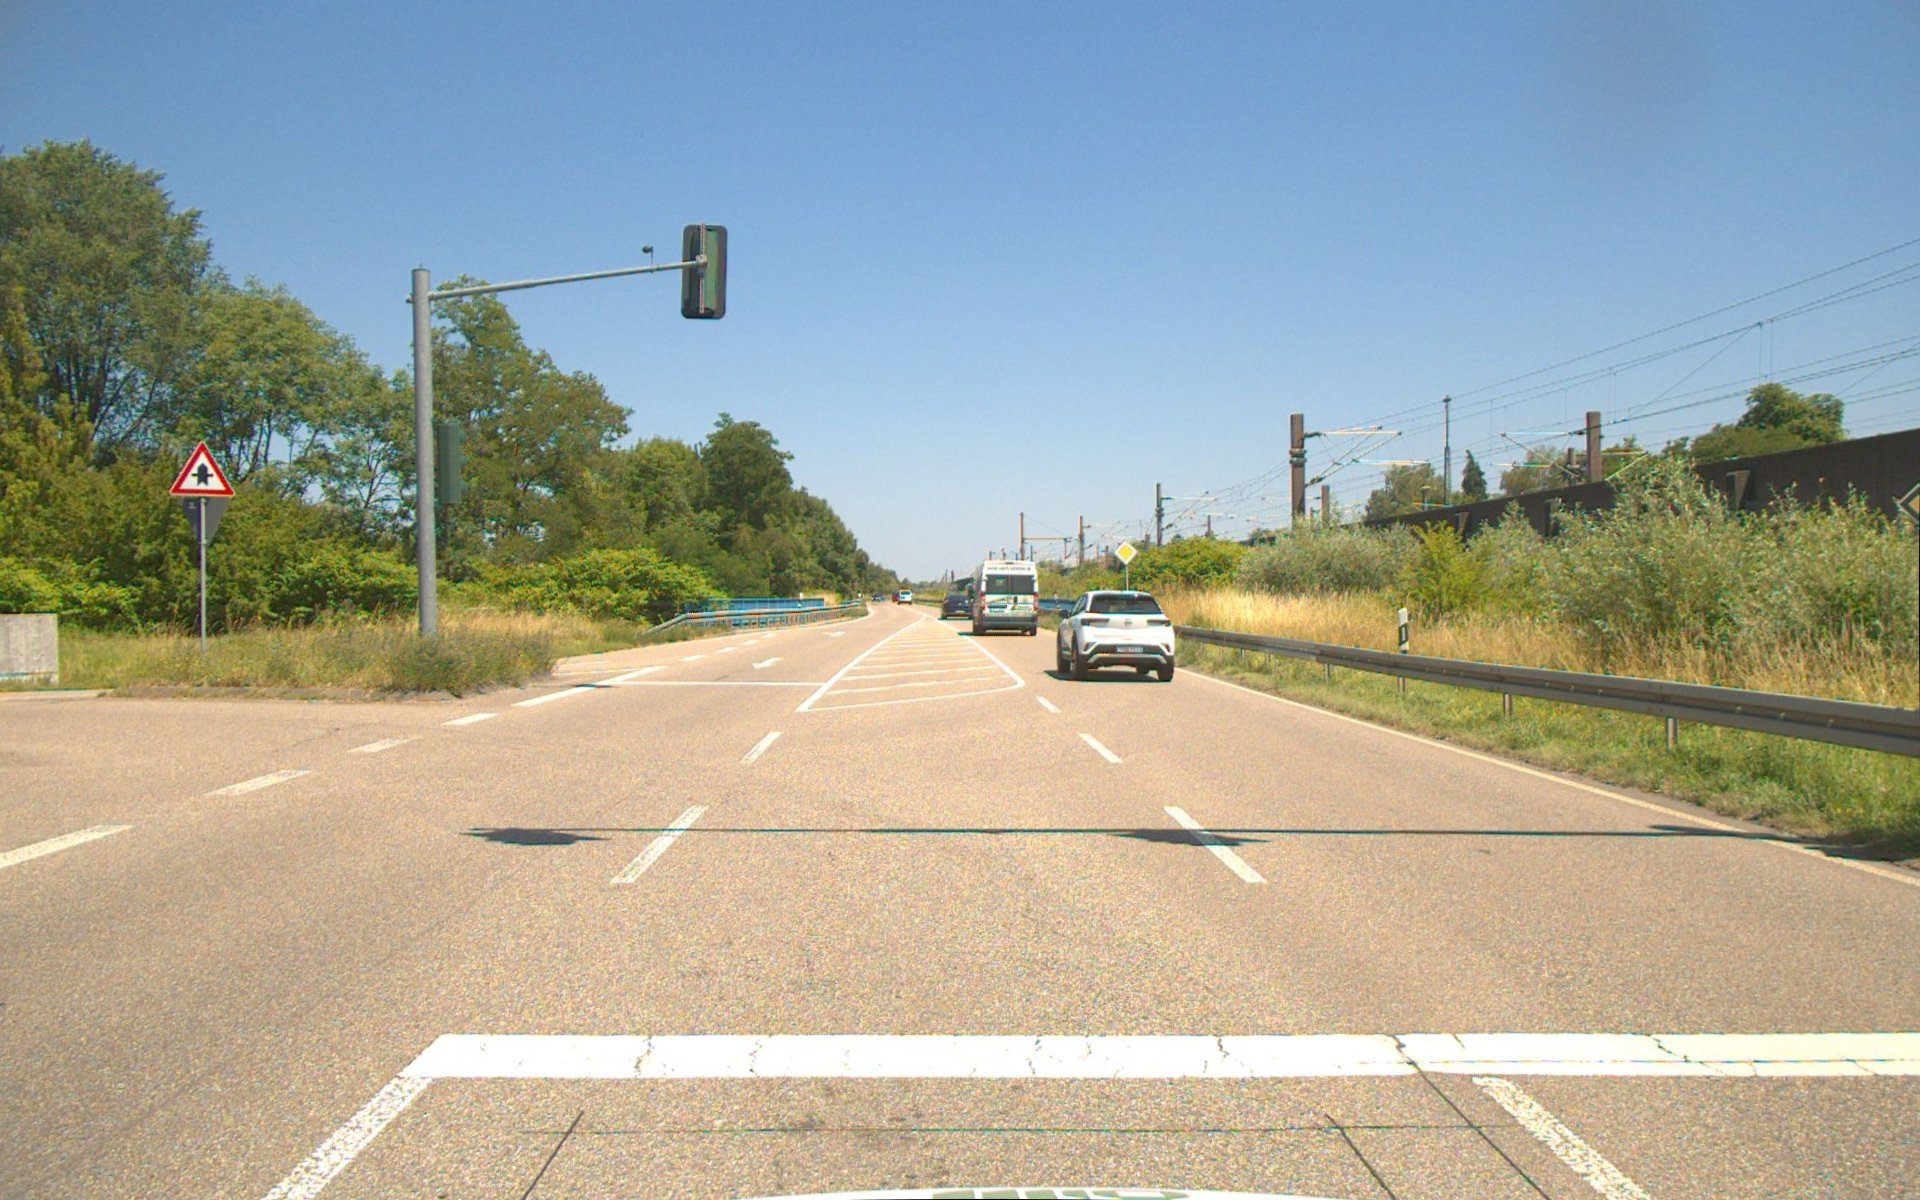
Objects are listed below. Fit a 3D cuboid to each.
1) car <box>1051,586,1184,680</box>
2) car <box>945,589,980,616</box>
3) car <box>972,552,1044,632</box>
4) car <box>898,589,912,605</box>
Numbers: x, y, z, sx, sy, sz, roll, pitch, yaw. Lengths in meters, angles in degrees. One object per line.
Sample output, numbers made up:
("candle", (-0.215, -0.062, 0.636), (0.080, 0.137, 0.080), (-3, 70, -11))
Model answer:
("car", (2.786, 0.546, 30.100), (1.782, 1.591, 4.275), (0, 0, -3))
("car", (0.133, 0.113, 92.447), (1.819, 1.404, 4.502), (1, 0, -2))
("car", (1.624, -0.293, 58.356), (2.144, 2.649, 6.749), (1, 0, -1))
("car", (-7.442, -0.394, 223.508), (1.954, 2.018, 4.058), (1, 0, -3))
